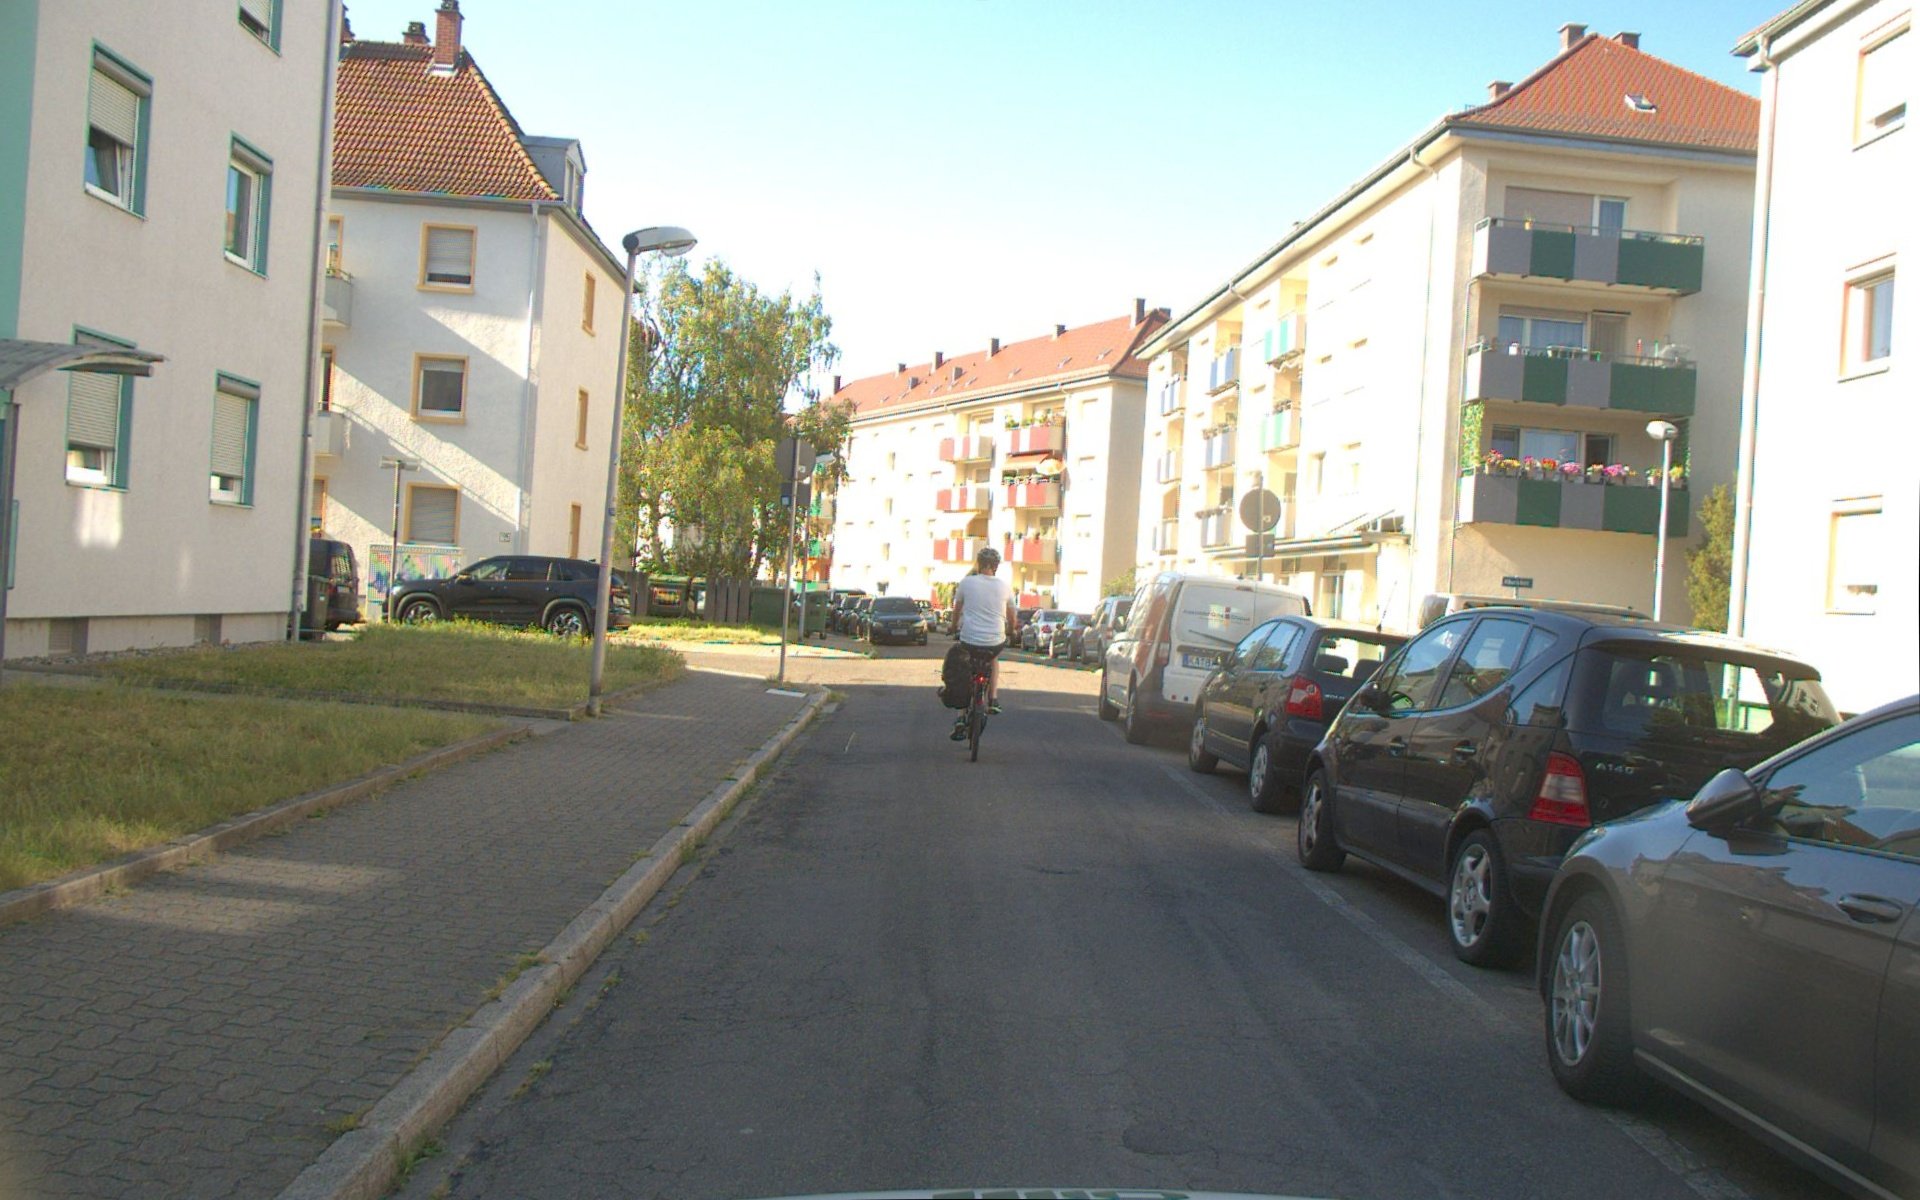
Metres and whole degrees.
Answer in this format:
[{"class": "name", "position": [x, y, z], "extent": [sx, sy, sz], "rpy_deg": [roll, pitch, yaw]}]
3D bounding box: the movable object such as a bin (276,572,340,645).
[{"class": "movable object such as a bin", "position": [-9.435, 0.117, 23.969], "extent": [0.600, 1.009, 0.714], "rpy_deg": [4, 0, -3]}]

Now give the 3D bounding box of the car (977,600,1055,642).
[{"class": "car", "position": [2.034, 0.771, 61.852], "extent": [1.665, 1.456, 4.670], "rpy_deg": [2, 0, -14]}]

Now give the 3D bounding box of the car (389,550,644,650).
[{"class": "car", "position": [-8.532, 0.028, 32.101], "extent": [4.398, 1.693, 1.719], "rpy_deg": [3, -2, -2]}]

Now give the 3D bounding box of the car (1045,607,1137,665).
[{"class": "car", "position": [3.820, 1.027, 49.088], "extent": [1.647, 1.431, 4.536], "rpy_deg": [4, 0, -9]}]

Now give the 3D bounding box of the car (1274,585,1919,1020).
[{"class": "car", "position": [2.949, 0.806, 8.422], "extent": [1.586, 1.577, 3.607], "rpy_deg": [6, 0, -5]}]

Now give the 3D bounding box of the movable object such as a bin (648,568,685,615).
[{"class": "movable object such as a bin", "position": [-9.370, -0.284, 52.827], "extent": [1.039, 1.460, 1.002], "rpy_deg": [2, 0, -4]}]

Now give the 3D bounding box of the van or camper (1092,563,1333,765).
[{"class": "van or camper", "position": [2.659, 0.618, 18.535], "extent": [1.757, 1.777, 4.734], "rpy_deg": [6, 0, -1]}]

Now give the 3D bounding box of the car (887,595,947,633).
[{"class": "car", "position": [-2.120, 0.660, 80.379], "extent": [1.739, 1.664, 4.018], "rpy_deg": [1, 1, -20]}]

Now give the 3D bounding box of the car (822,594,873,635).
[{"class": "car", "position": [-4.256, 0.518, 62.215], "extent": [1.527, 1.468, 3.959], "rpy_deg": [0, 0, -10]}]

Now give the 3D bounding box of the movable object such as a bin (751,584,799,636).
[{"class": "movable object such as a bin", "position": [-5.332, 0.276, 47.668], "extent": [1.195, 1.404, 0.767], "rpy_deg": [4, -1, 1]}]

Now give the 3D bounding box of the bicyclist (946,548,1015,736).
[{"class": "bicyclist", "position": [0.186, 0.360, 14.612], "extent": [0.584, 1.606, 0.907], "rpy_deg": [0, -1, 1]}]

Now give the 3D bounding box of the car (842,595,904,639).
[{"class": "car", "position": [-3.021, 0.560, 56.839], "extent": [1.647, 1.468, 4.270], "rpy_deg": [0, 0, -10]}]

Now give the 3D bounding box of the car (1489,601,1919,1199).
[{"class": "car", "position": [2.827, 0.885, 3.761], "extent": [1.597, 1.474, 3.949], "rpy_deg": [7, 1, -4]}]

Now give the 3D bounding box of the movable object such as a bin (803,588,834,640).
[{"class": "movable object such as a bin", "position": [-4.048, 0.395, 47.467], "extent": [0.760, 1.417, 1.416], "rpy_deg": [3, 0, -3]}]

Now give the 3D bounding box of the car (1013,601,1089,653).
[{"class": "car", "position": [2.999, 0.870, 55.424], "extent": [1.646, 1.472, 4.717], "rpy_deg": [4, 0, -7]}]

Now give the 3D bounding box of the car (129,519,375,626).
[{"class": "car", "position": [-13.590, -0.500, 31.928], "extent": [3.910, 1.820, 1.719], "rpy_deg": [3, -2, -2]}]

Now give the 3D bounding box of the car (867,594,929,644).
[{"class": "car", "position": [-1.989, 0.561, 51.781], "extent": [1.645, 1.478, 4.614], "rpy_deg": [0, 0, -6]}]

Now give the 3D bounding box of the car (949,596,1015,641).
[{"class": "car", "position": [0.860, 0.723, 68.091], "extent": [1.665, 1.684, 4.375], "rpy_deg": [2, 0, -13]}]

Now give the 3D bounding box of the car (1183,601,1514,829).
[{"class": "car", "position": [2.957, 0.803, 13.371], "extent": [1.541, 1.442, 3.786], "rpy_deg": [4, 0, -3]}]

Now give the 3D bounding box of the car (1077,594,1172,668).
[{"class": "car", "position": [4.305, 0.775, 43.824], "extent": [1.713, 1.856, 4.127], "rpy_deg": [1, 0, -5]}]

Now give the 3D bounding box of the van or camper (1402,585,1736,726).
[{"class": "van or camper", "position": [10.590, 0.935, 29.007], "extent": [5.021, 2.048, 1.999], "rpy_deg": [4, 2, -3]}]

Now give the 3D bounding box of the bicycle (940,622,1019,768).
[{"class": "bicycle", "position": [0.175, 0.803, 14.677], "extent": [0.614, 1.134, 1.816], "rpy_deg": [2, 1, 1]}]

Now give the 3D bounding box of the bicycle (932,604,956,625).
[{"class": "bicycle", "position": [-0.884, 0.779, 89.678], "extent": [0.609, 0.995, 1.883], "rpy_deg": [0, 2, -22]}]
